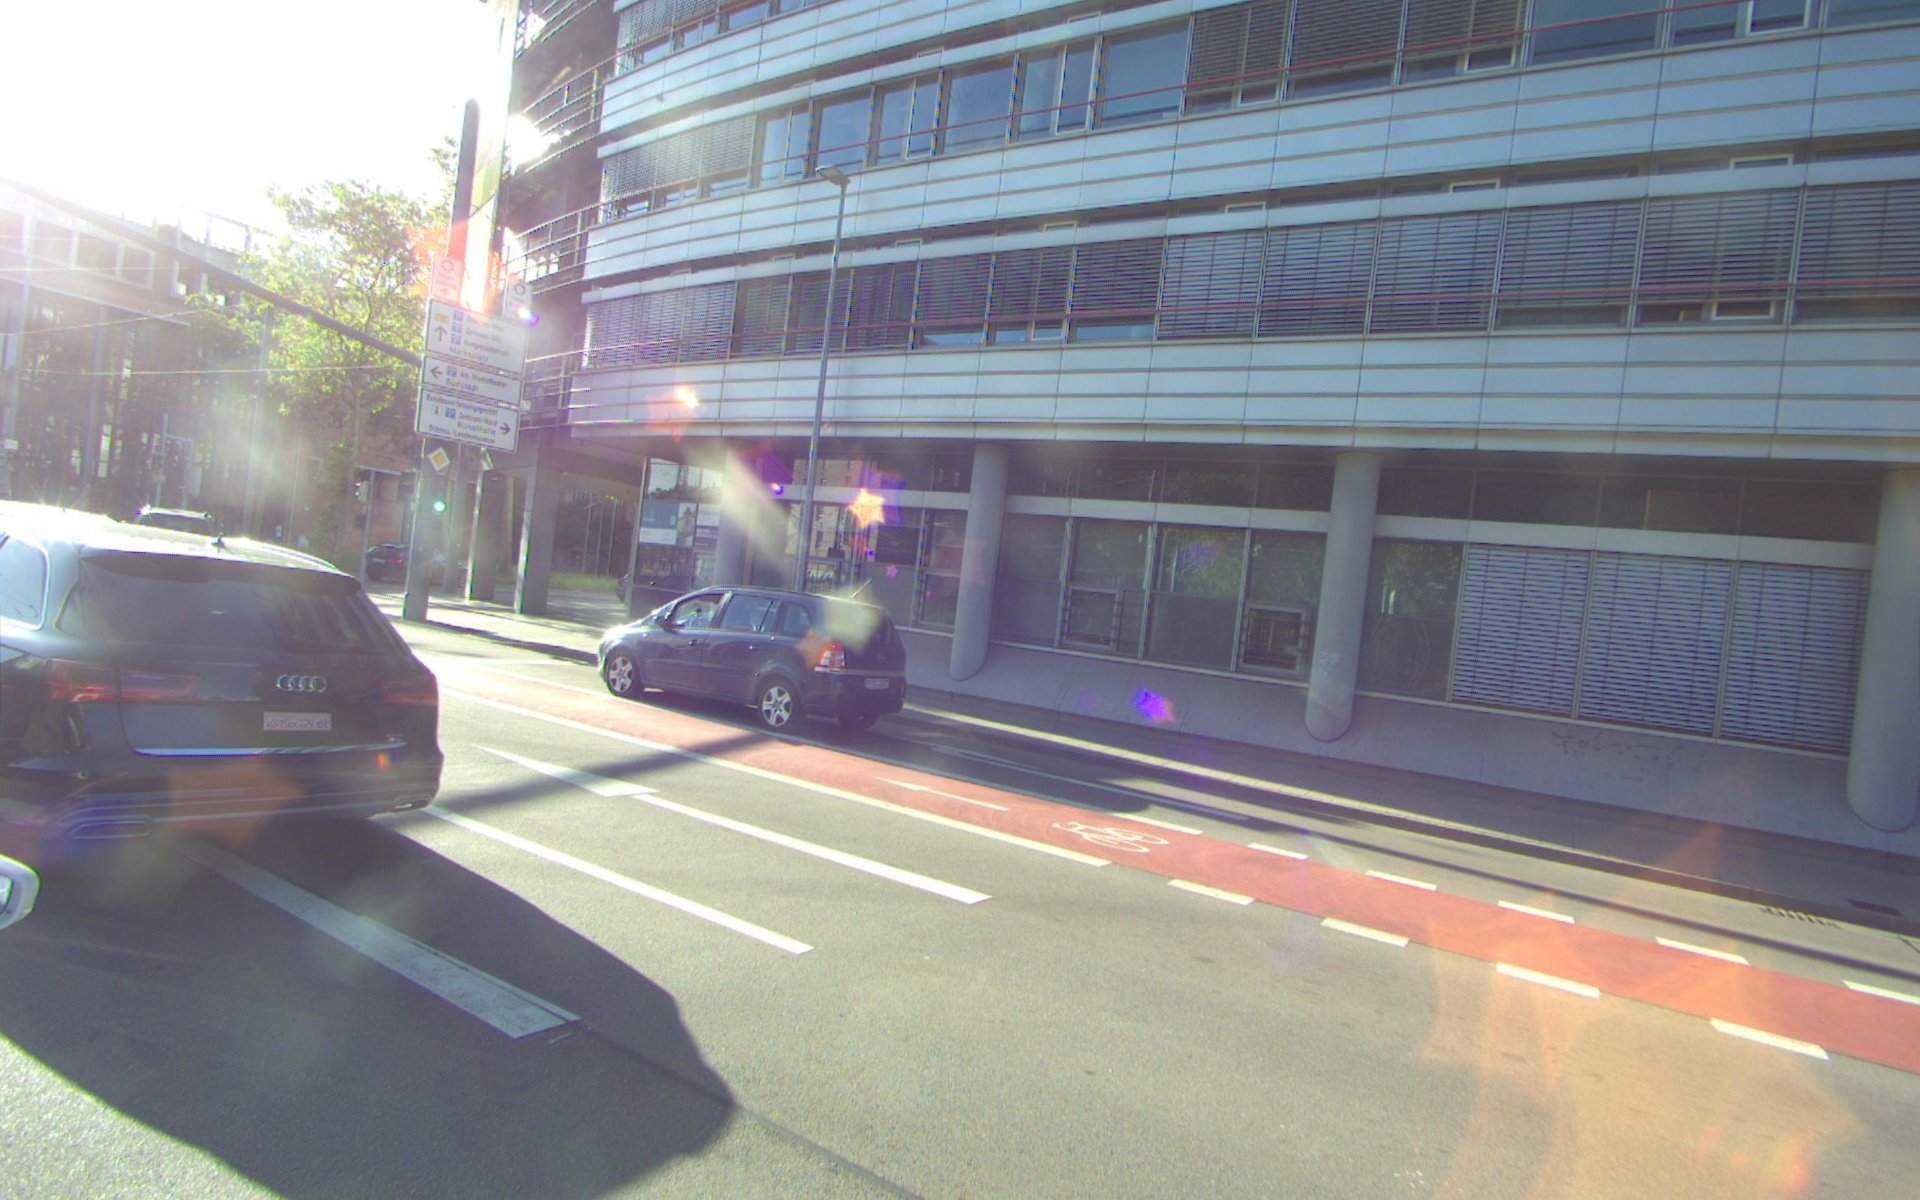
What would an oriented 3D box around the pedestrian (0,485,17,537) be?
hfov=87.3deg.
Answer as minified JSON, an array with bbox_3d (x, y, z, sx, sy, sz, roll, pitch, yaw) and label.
[{"bbox_3d":[-33.473,-3.125,35.040,0.701,1.781,0.556,6,1,-33],"label":"pedestrian"}]

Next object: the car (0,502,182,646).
[{"bbox_3d":[-11.769,-0.454,12.508,3.931,1.474,1.812,7,-1,29],"label":"car"}]

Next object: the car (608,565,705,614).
[{"bbox_3d":[-13.507,-0.437,45.025,1.832,1.670,4.000,7,-2,24],"label":"car"}]

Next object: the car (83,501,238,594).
[{"bbox_3d":[-19.377,-1.298,24.328,4.266,1.771,1.992,7,0,40],"label":"car"}]

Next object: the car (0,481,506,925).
[{"bbox_3d":[-4.680,0.252,5.296,4.420,1.509,1.816,6,-3,30],"label":"car"}]

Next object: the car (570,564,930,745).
[{"bbox_3d":[-2.757,0.618,12.856,4.388,1.649,1.690,7,0,31],"label":"car"}]
